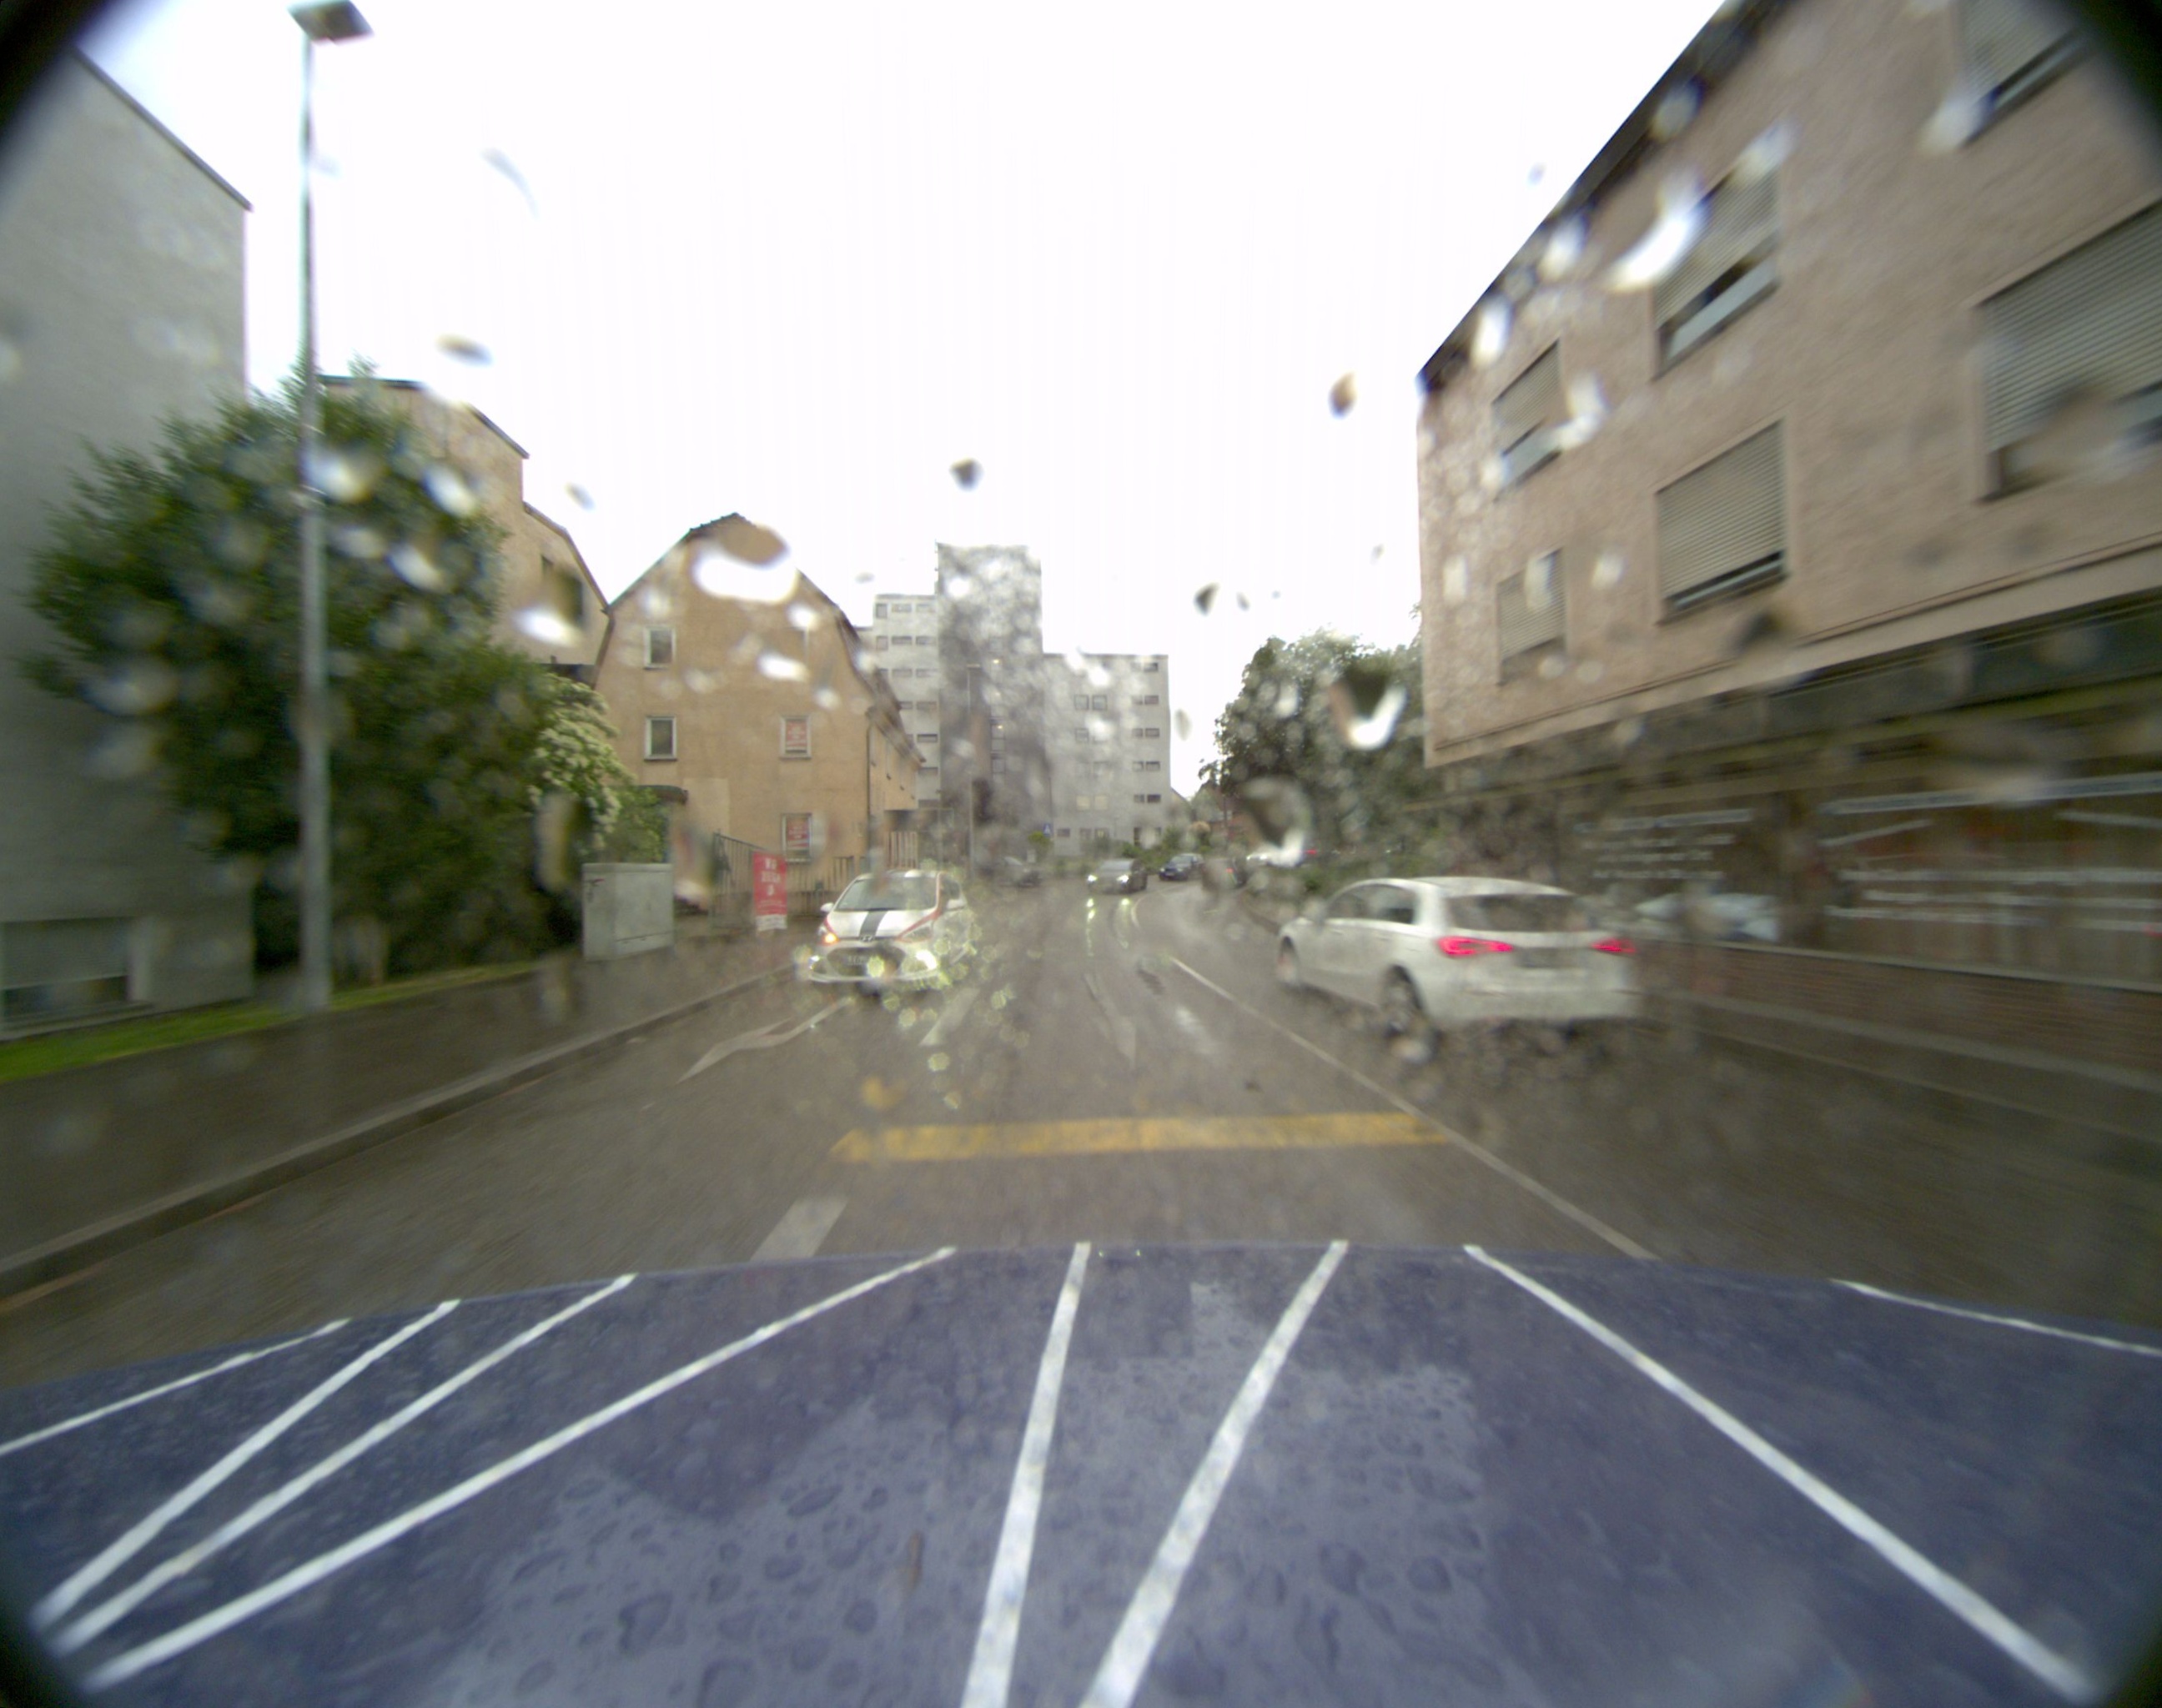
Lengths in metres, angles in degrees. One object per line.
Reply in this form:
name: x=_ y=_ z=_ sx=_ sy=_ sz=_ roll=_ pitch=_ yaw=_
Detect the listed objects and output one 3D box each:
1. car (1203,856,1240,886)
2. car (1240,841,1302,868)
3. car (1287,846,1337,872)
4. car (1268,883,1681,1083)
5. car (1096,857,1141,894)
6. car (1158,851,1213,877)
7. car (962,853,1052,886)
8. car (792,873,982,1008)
car: x=7.183 y=0.812 z=38.682 sx=1.773 sy=1.394 sz=3.922 roll=0 pitch=1 yaw=11
car: x=14.105 y=0.059 z=56.175 sx=4.957 sy=1.648 sz=1.897 roll=5 pitch=-4 yaw=-40
car: x=15.916 y=0.311 z=52.265 sx=1.894 sy=1.587 sz=4.363 roll=3 pitch=4 yaw=36
car: x=3.365 y=0.999 z=7.535 sx=1.695 sy=1.364 sz=4.112 roll=0 pitch=-1 yaw=-5
car: x=1.779 y=0.920 z=34.975 sx=1.837 sy=1.505 sz=4.849 roll=-2 pitch=0 yaw=5
car: x=6.192 y=0.549 z=44.411 sx=1.787 sy=1.339 sz=4.953 roll=-3 pitch=-1 yaw=24
car: x=-3.898 y=0.770 z=39.937 sx=4.408 sy=1.564 sz=1.721 roll=1 pitch=3 yaw=22
car: x=-2.517 y=1.060 z=10.794 sx=1.711 sy=1.444 sz=3.763 roll=-1 pitch=0 yaw=0
